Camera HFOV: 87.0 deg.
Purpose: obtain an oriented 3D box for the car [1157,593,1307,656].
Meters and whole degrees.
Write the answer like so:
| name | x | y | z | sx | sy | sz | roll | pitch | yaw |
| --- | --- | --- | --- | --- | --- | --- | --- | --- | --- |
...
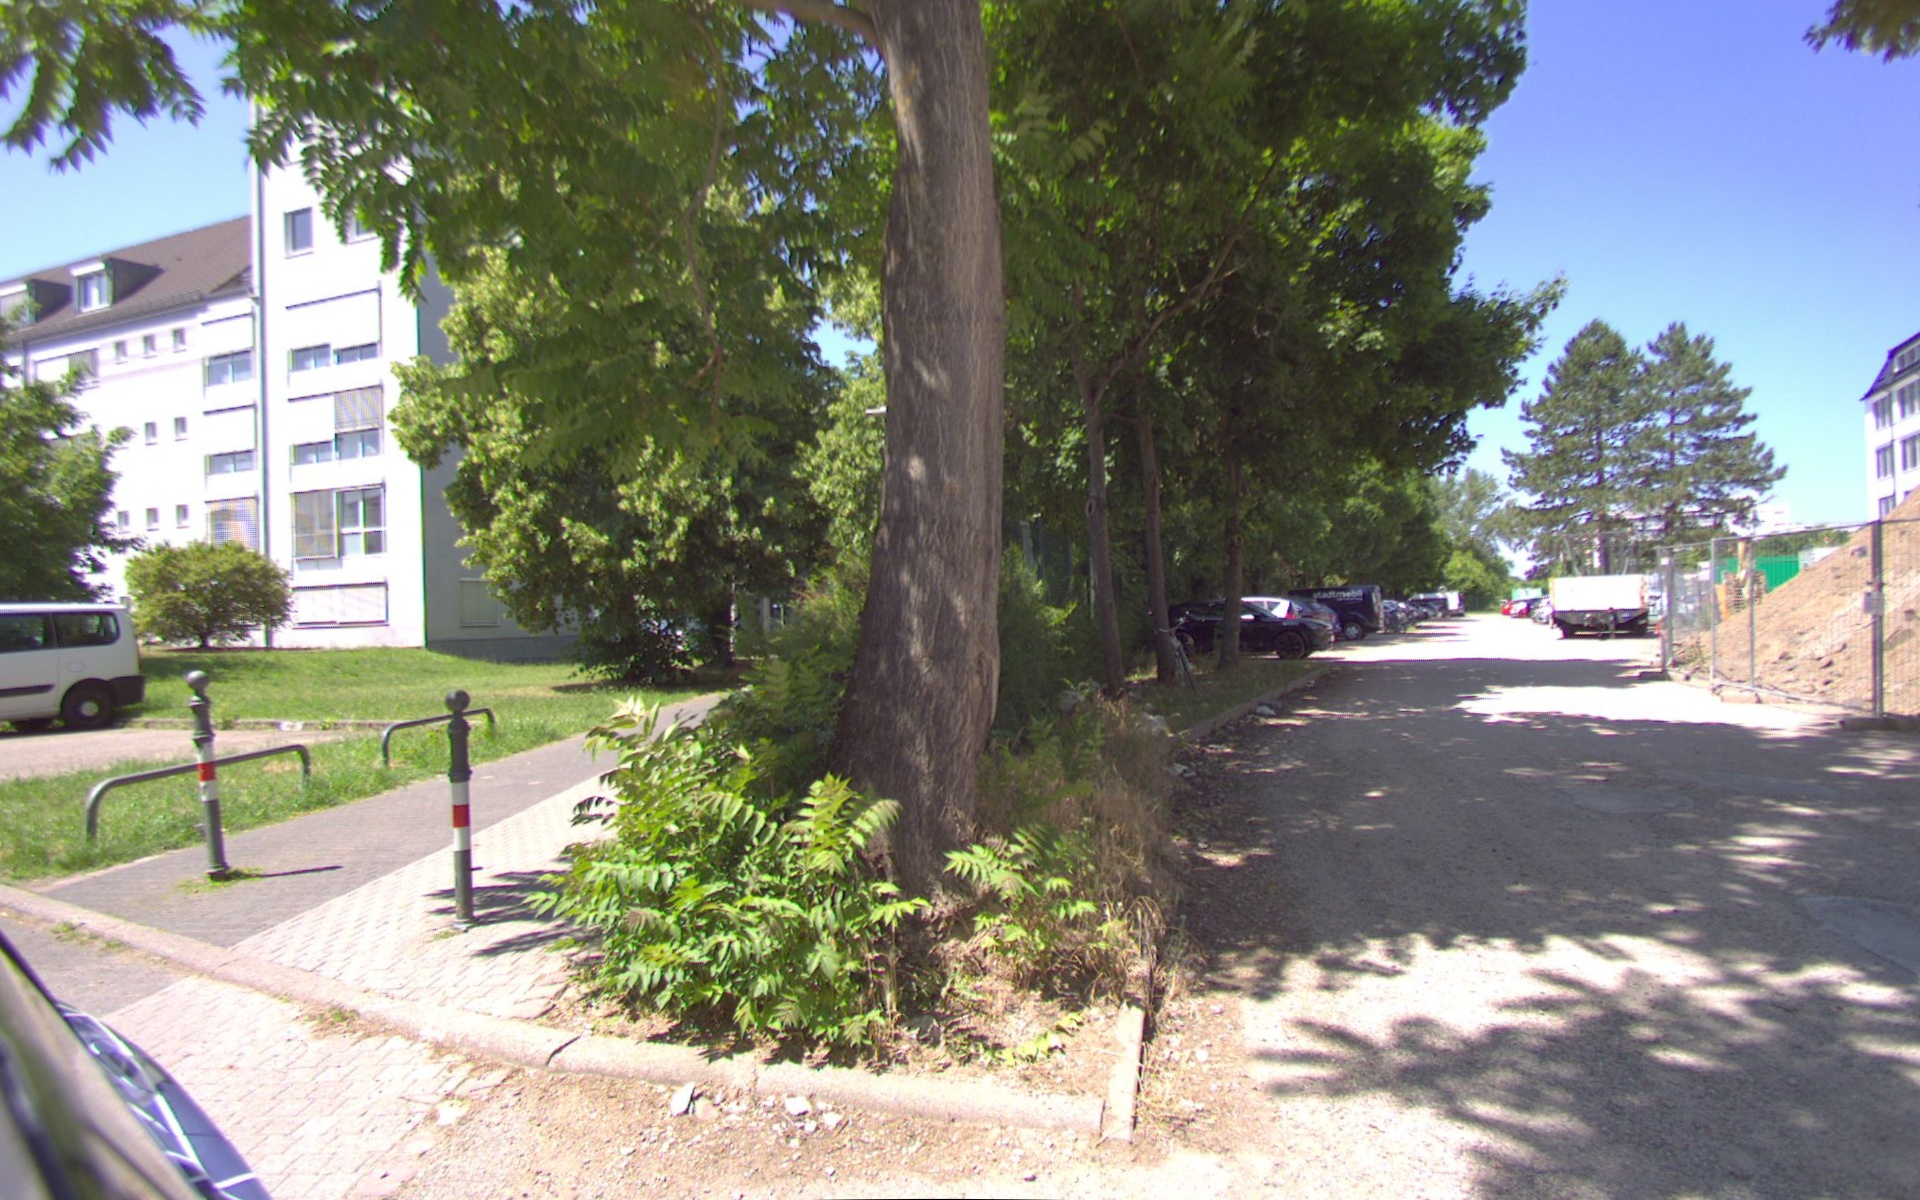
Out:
| name | x | y | z | sx | sy | sz | roll | pitch | yaw |
| --- | --- | --- | --- | --- | --- | --- | --- | --- | --- |
| car | 7.658 | 0.690 | 28.467 | 3.771 | 1.647 | 1.831 | -1 | -1 | 27 |

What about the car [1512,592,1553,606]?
| name | x | y | z | sx | sy | sz | roll | pitch | yaw |
| --- | --- | --- | --- | --- | --- | --- | --- | --- | --- |
| car | 61.180 | -0.126 | 108.159 | 3.774 | 1.420 | 1.724 | -1 | -1 | 29 |

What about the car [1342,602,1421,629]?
| name | x | y | z | sx | sy | sz | roll | pitch | yaw |
| --- | --- | --- | --- | --- | --- | --- | --- | --- | --- |
| car | 22.828 | 0.831 | 54.826 | 3.774 | 1.420 | 1.724 | -1 | -1 | 29 |

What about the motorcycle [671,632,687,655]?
| name | x | y | z | sx | sy | sz | roll | pitch | yaw |
| --- | --- | --- | --- | --- | --- | --- | --- | --- | --- |
| motorcycle | -15.111 | 2.346 | 54.492 | 0.689 | 1.176 | 2.316 | -1 | -1 | -12 |

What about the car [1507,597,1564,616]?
| name | x | y | z | sx | sy | sz | roll | pitch | yaw |
| --- | --- | --- | --- | --- | --- | --- | --- | --- | --- |
| car | 44.816 | 0.516 | 78.864 | 3.774 | 1.420 | 1.724 | -1 | -1 | 29 |

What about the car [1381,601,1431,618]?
| name | x | y | z | sx | sy | sz | roll | pitch | yaw |
| --- | --- | --- | --- | --- | --- | --- | --- | --- | --- |
| car | 38.230 | 0.840 | 86.803 | 3.774 | 1.420 | 1.724 | -1 | -1 | 29 |

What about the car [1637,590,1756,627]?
| name | x | y | z | sx | sy | sz | roll | pitch | yaw |
| --- | --- | --- | --- | --- | --- | --- | --- | --- | --- |
| car | 30.597 | 0.363 | 42.188 | 3.774 | 1.420 | 1.724 | -1 | -1 | 29 |

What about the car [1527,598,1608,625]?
| name | x | y | z | sx | sy | sz | roll | pitch | yaw |
| --- | --- | --- | --- | --- | --- | --- | --- | --- | --- |
| car | 33.686 | 0.651 | 56.253 | 3.774 | 1.420 | 1.724 | -1 | -1 | 29 |

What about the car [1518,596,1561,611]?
| name | x | y | z | sx | sy | sz | roll | pitch | yaw |
| --- | --- | --- | --- | --- | --- | --- | --- | --- | --- |
| car | 59.852 | 0.375 | 104.581 | 3.774 | 1.420 | 1.724 | -1 | -1 | 29 |

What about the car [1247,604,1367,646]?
| name | x | y | z | sx | sy | sz | roll | pitch | yaw |
| --- | --- | --- | --- | --- | --- | --- | --- | --- | --- |
| car | 12.151 | 0.870 | 35.442 | 3.771 | 1.420 | 1.725 | -1 | -1 | 27 |

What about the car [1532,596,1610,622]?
| name | x | y | z | sx | sy | sz | roll | pitch | yaw |
| --- | --- | --- | --- | --- | --- | --- | --- | --- | --- |
| car | 35.274 | 0.546 | 58.512 | 3.774 | 1.420 | 1.724 | -1 | -1 | 29 |

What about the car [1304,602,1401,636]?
| name | x | y | z | sx | sy | sz | roll | pitch | yaw |
| --- | --- | --- | --- | --- | --- | --- | --- | --- | --- |
| car | 17.237 | 0.855 | 44.461 | 3.774 | 1.420 | 1.724 | -1 | -1 | 29 |

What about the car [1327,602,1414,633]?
| name | x | y | z | sx | sy | sz | roll | pitch | yaw |
| --- | --- | --- | --- | --- | --- | --- | --- | --- | --- |
| car | 20.146 | 0.863 | 49.685 | 3.774 | 1.420 | 1.724 | -1 | -1 | 29 |

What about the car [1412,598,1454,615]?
| name | x | y | z | sx | sy | sz | roll | pitch | yaw |
| --- | --- | --- | --- | --- | --- | --- | --- | --- | --- |
| car | 48.206 | 0.667 | 103.117 | 3.774 | 1.734 | 1.724 | -1 | -1 | 29 |

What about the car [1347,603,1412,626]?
| name | x | y | z | sx | sy | sz | roll | pitch | yaw |
| --- | --- | --- | --- | --- | --- | --- | --- | --- | --- |
| car | 27.667 | 0.941 | 66.777 | 3.774 | 1.420 | 1.724 | -1 | -1 | 29 |

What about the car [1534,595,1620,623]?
| name | x | y | z | sx | sy | sz | roll | pitch | yaw |
| --- | --- | --- | --- | --- | --- | --- | --- | --- | --- |
| car | 32.699 | 0.489 | 53.715 | 3.774 | 1.420 | 1.724 | -1 | -1 | 29 |

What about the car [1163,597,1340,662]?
| name | x | y | z | sx | sy | sz | roll | pitch | yaw |
| --- | --- | --- | --- | --- | --- | --- | --- | --- | --- |
| car | 7.266 | 0.731 | 25.307 | 3.982 | 1.514 | 1.674 | -1 | -1 | 29 |

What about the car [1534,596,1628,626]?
| name | x | y | z | sx | sy | sz | roll | pitch | yaw |
| --- | --- | --- | --- | --- | --- | --- | --- | --- | --- |
| car | 30.284 | 0.538 | 49.465 | 3.774 | 1.420 | 1.724 | -1 | -1 | 29 |

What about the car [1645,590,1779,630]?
| name | x | y | z | sx | sy | sz | roll | pitch | yaw |
| --- | --- | --- | --- | --- | --- | --- | --- | --- | --- |
| car | 28.024 | 0.383 | 37.855 | 3.774 | 1.420 | 1.724 | -1 | -1 | 29 |

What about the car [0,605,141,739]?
| name | x | y | z | sx | sy | sz | roll | pitch | yaw |
| --- | --- | --- | --- | --- | --- | --- | --- | --- | --- |
| car | -14.916 | 1.067 | 14.372 | 1.987 | 1.926 | 4.768 | -3 | -2 | 22 |

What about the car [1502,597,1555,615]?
| name | x | y | z | sx | sy | sz | roll | pitch | yaw |
| --- | --- | --- | --- | --- | --- | --- | --- | --- | --- |
| car | 46.634 | 0.498 | 83.083 | 3.774 | 1.420 | 1.724 | -1 | -1 | 29 |

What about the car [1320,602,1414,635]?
| name | x | y | z | sx | sy | sz | roll | pitch | yaw |
| --- | --- | --- | --- | --- | --- | --- | --- | --- | --- |
| car | 18.567 | 0.837 | 46.182 | 3.774 | 1.420 | 1.724 | -1 | -1 | 29 |

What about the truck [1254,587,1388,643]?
| name | x | y | z | sx | sy | sz | roll | pitch | yaw |
| --- | --- | --- | --- | --- | --- | --- | --- | --- | --- |
| truck | 13.463 | 0.575 | 37.759 | 4.439 | 2.009 | 1.980 | -1 | -1 | 29 |

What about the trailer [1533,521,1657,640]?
| name | x | y | z | sx | sy | sz | roll | pitch | yaw |
| --- | --- | --- | --- | --- | --- | --- | --- | --- | --- |
| trailer | 21.393 | -0.563 | 33.852 | 3.035 | 3.447 | 8.668 | -1 | 0 | 35 |

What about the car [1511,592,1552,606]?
| name | x | y | z | sx | sy | sz | roll | pitch | yaw |
| --- | --- | --- | --- | --- | --- | --- | --- | --- | --- |
| car | 62.022 | -0.117 | 109.842 | 3.774 | 1.420 | 1.724 | -1 | -1 | 29 |

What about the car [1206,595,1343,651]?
| name | x | y | z | sx | sy | sz | roll | pitch | yaw |
| --- | --- | --- | --- | --- | --- | --- | --- | --- | --- |
| car | 9.666 | 0.704 | 31.144 | 3.771 | 1.647 | 1.831 | -1 | -1 | 27 |
